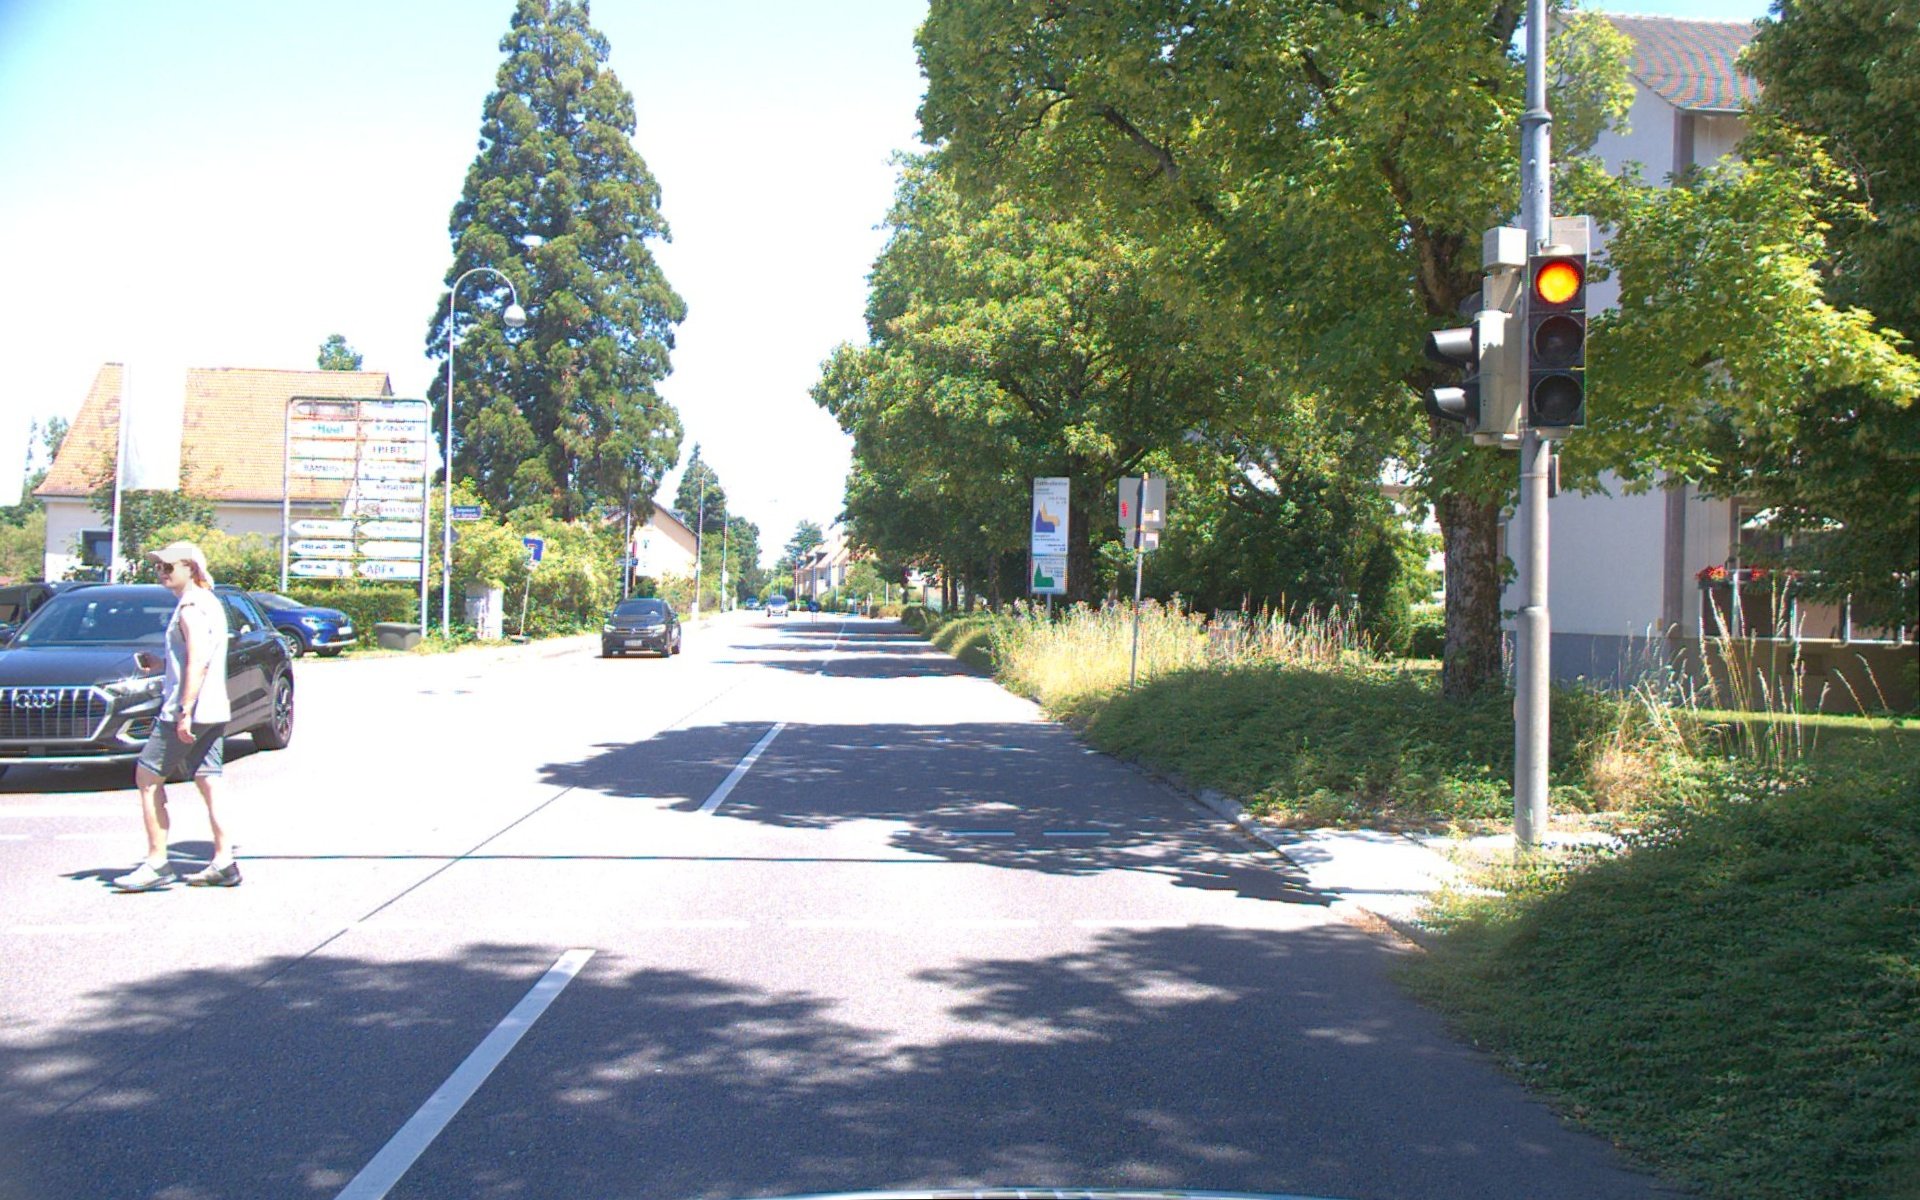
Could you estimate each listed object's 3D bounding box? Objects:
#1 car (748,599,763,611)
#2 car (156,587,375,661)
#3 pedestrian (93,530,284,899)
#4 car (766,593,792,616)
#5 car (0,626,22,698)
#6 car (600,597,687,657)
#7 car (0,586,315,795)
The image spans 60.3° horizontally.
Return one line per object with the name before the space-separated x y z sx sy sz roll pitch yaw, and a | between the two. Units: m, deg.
car | -27.382 0.706 221.989 1.786 1.579 3.996 0 0 -4
car | -15.066 0.502 35.969 4.047 1.531 1.779 0 0 8
pedestrian | -3.943 0.557 8.477 0.532 1.792 0.702 0 0 25
car | -15.219 0.375 139.174 1.774 1.793 4.569 2 0 -1
car | -24.559 1.537 40.087 1.775 1.752 4.081 1 0 -8
car | -8.394 0.695 44.171 1.832 1.533 4.049 0 0 -5
car | -7.271 0.684 14.686 1.890 1.582 4.295 0 0 -8
